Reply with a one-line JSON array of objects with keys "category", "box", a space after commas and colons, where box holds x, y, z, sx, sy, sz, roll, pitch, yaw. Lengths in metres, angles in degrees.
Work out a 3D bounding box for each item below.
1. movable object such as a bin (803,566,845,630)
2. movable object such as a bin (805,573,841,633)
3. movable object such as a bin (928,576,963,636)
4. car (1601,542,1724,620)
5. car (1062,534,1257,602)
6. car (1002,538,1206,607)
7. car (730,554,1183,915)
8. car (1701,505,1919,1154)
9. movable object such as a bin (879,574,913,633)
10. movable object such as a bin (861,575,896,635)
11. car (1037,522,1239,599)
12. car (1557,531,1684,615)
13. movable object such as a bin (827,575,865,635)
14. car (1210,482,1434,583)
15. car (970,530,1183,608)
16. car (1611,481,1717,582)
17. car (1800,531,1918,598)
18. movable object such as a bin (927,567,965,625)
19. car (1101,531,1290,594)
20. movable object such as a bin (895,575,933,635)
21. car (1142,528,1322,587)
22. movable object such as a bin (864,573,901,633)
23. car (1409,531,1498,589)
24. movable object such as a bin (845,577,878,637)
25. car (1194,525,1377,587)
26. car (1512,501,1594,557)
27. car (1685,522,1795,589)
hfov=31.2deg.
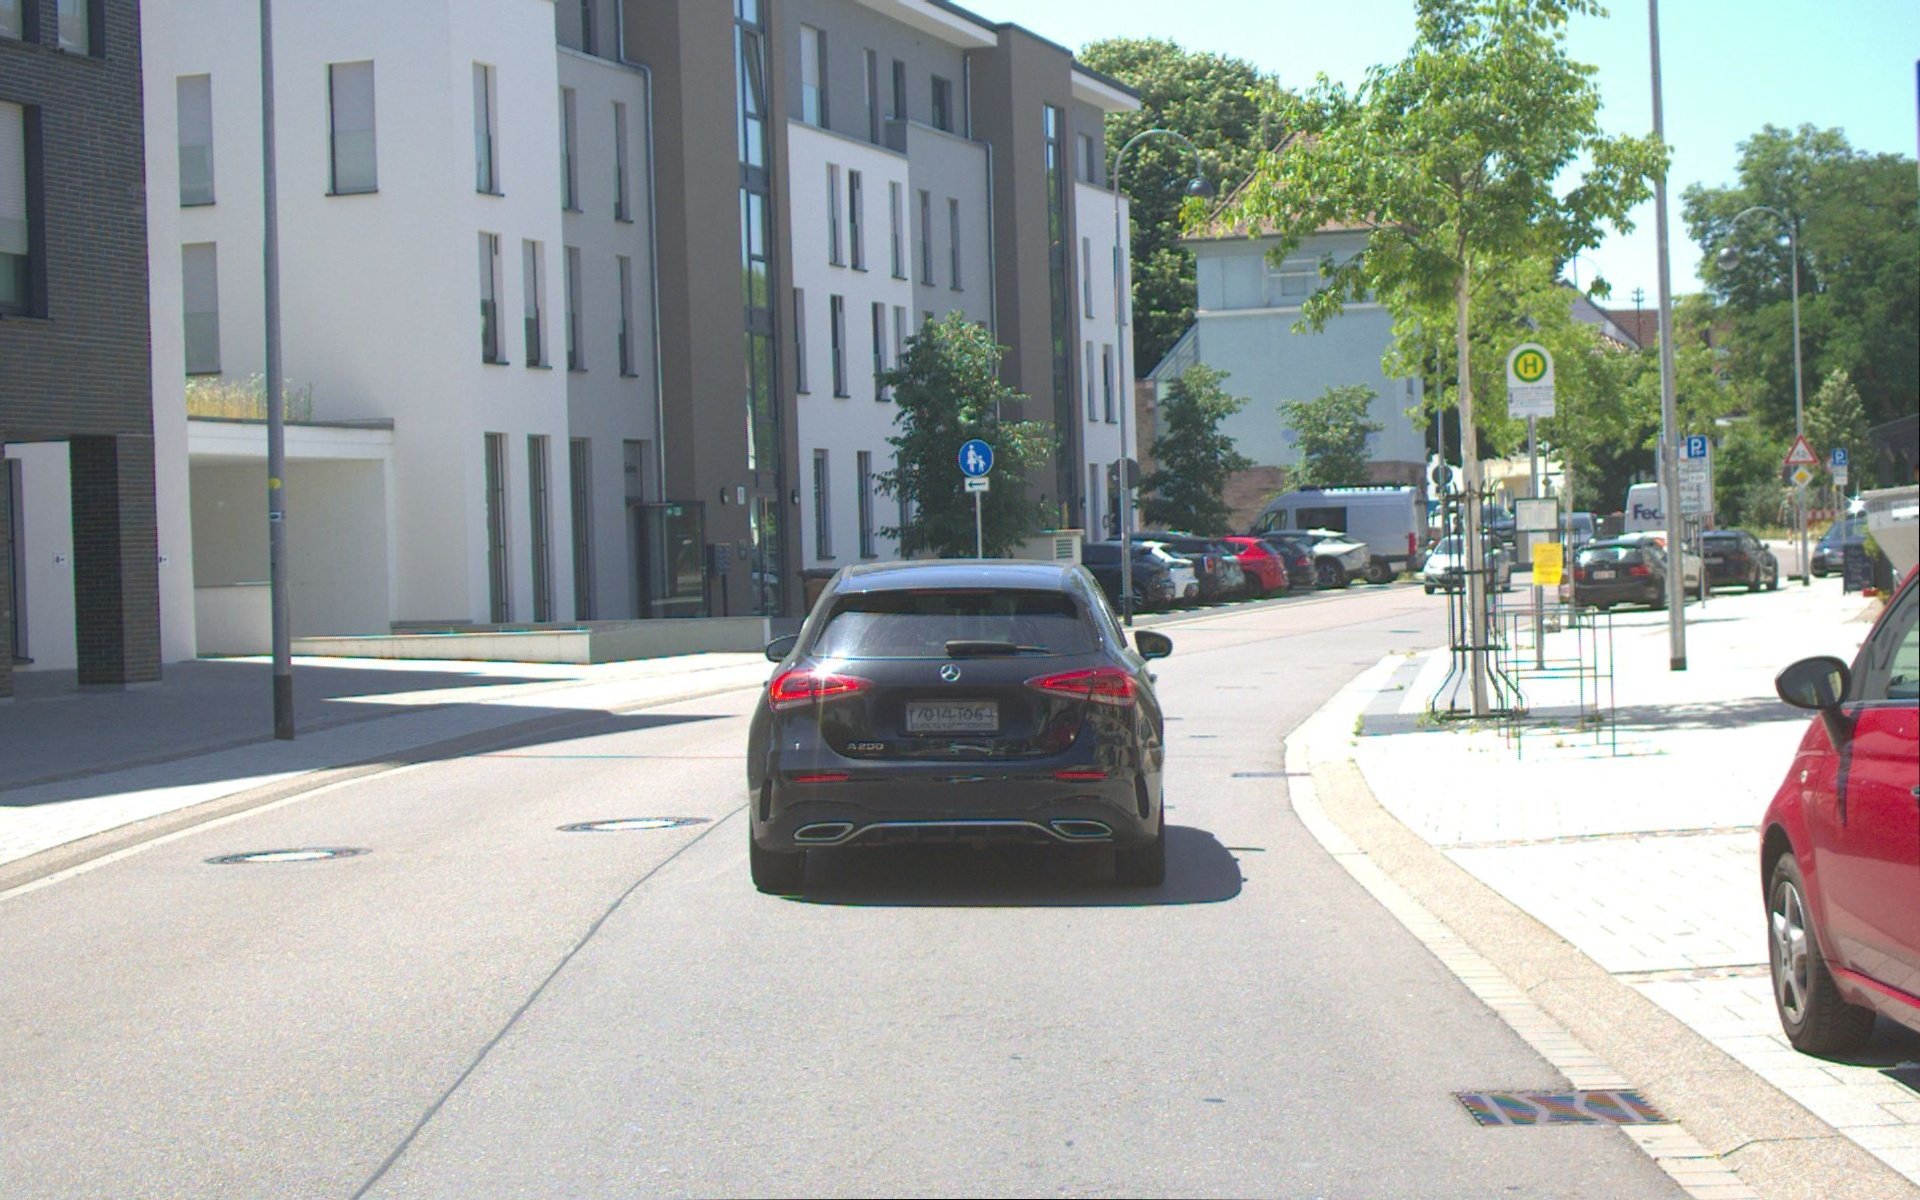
[{"category": "movable object such as a bin", "box": [-2.395, -0.038, 60.536, 0.692, 1.092, 0.647, -1, 1, 0]}, {"category": "movable object such as a bin", "box": [-2.353, 0.050, 59.024, 0.483, 0.994, 0.587, -1, 1, 10]}, {"category": "movable object such as a bin", "box": [-0.241, 0.093, 57.972, 0.483, 0.994, 0.587, -1, 1, 10]}, {"category": "car", "box": [14.981, -0.419, 73.202, 1.739, 1.481, 4.049, -4, 0, 23]}, {"category": "car", "box": [4.558, -0.749, 78.358, 4.036, 1.491, 1.998, 0, 1, 20]}, {"category": "car", "box": [3.076, -0.605, 73.241, 3.990, 1.416, 1.908, 0, 1, 18]}, {"category": "car", "box": [-0.118, 0.524, 16.015, 1.827, 1.437, 4.001, -1, 1, -3]}, {"category": "car", "box": [3.048, 0.495, 8.325, 1.679, 1.509, 3.387, -3, 1, 0]}, {"category": "movable object such as a bin", "box": [-1.092, 0.056, 58.640, 0.403, 0.994, 0.555, -1, 1, 16]}, {"category": "movable object such as a bin", "box": [-1.378, 0.087, 58.139, 0.425, 0.994, 0.523, -1, 1, 17]}, {"category": "car", "box": [3.913, -0.891, 75.612, 4.036, 1.645, 1.998, 0, 1, 20]}, {"category": "car", "box": [12.914, -0.535, 67.038, 1.834, 1.477, 4.092, -3, 0, 18]}, {"category": "movable object such as a bin", "box": [-1.922, 0.086, 58.206, 0.483, 0.994, 0.526, -1, 1, 17]}, {"category": "car", "box": [9.982, -1.867, 94.733, 5.772, 2.723, 2.289, 0, 1, 18]}, {"category": "car", "box": [2.422, -0.652, 71.210, 3.990, 1.510, 1.999, 0, 3, 19]}, {"category": "car", "box": [18.966, -1.834, 92.506, 2.129, 2.621, 5.273, -1, 1, 19]}, {"category": "car", "box": [23.281, -0.936, 88.946, 1.875, 1.486, 3.855, -2, 2, 31]}, {"category": "movable object such as a bin", "box": [-0.249, -0.075, 61.025, 0.554, 1.016, 0.560, -1, 1, 13]}, {"category": "car", "box": [5.509, -0.885, 80.326, 4.036, 1.425, 1.998, 0, 1, 20]}, {"category": "movable object such as a bin", "box": [-0.780, 0.086, 58.266, 0.483, 0.994, 0.587, -1, 1, 16]}, {"category": "car", "box": [6.722, -1.056, 84.921, 4.202, 1.432, 1.885, 0, 1, 13]}, {"category": "movable object such as a bin", "box": [-1.364, 0.048, 60.603, 0.619, 1.035, 0.582, -1, 1, 0]}, {"category": "car", "box": [12.276, -0.993, 85.310, 1.668, 1.391, 3.845, 0, 1, 16]}, {"category": "movable object such as a bin", "box": [-1.685, 0.120, 58.731, 0.403, 0.994, 0.555, -1, 1, 16]}, {"category": "car", "box": [8.527, -1.163, 90.043, 4.457, 1.586, 1.998, 0, 1, 17]}, {"category": "car", "box": [18.001, -2.152, 104.311, 1.944, 1.653, 4.232, 0, 1, 17]}, {"category": "car", "box": [17.897, -1.043, 78.752, 1.726, 1.400, 4.604, -2, 1, 21]}]
